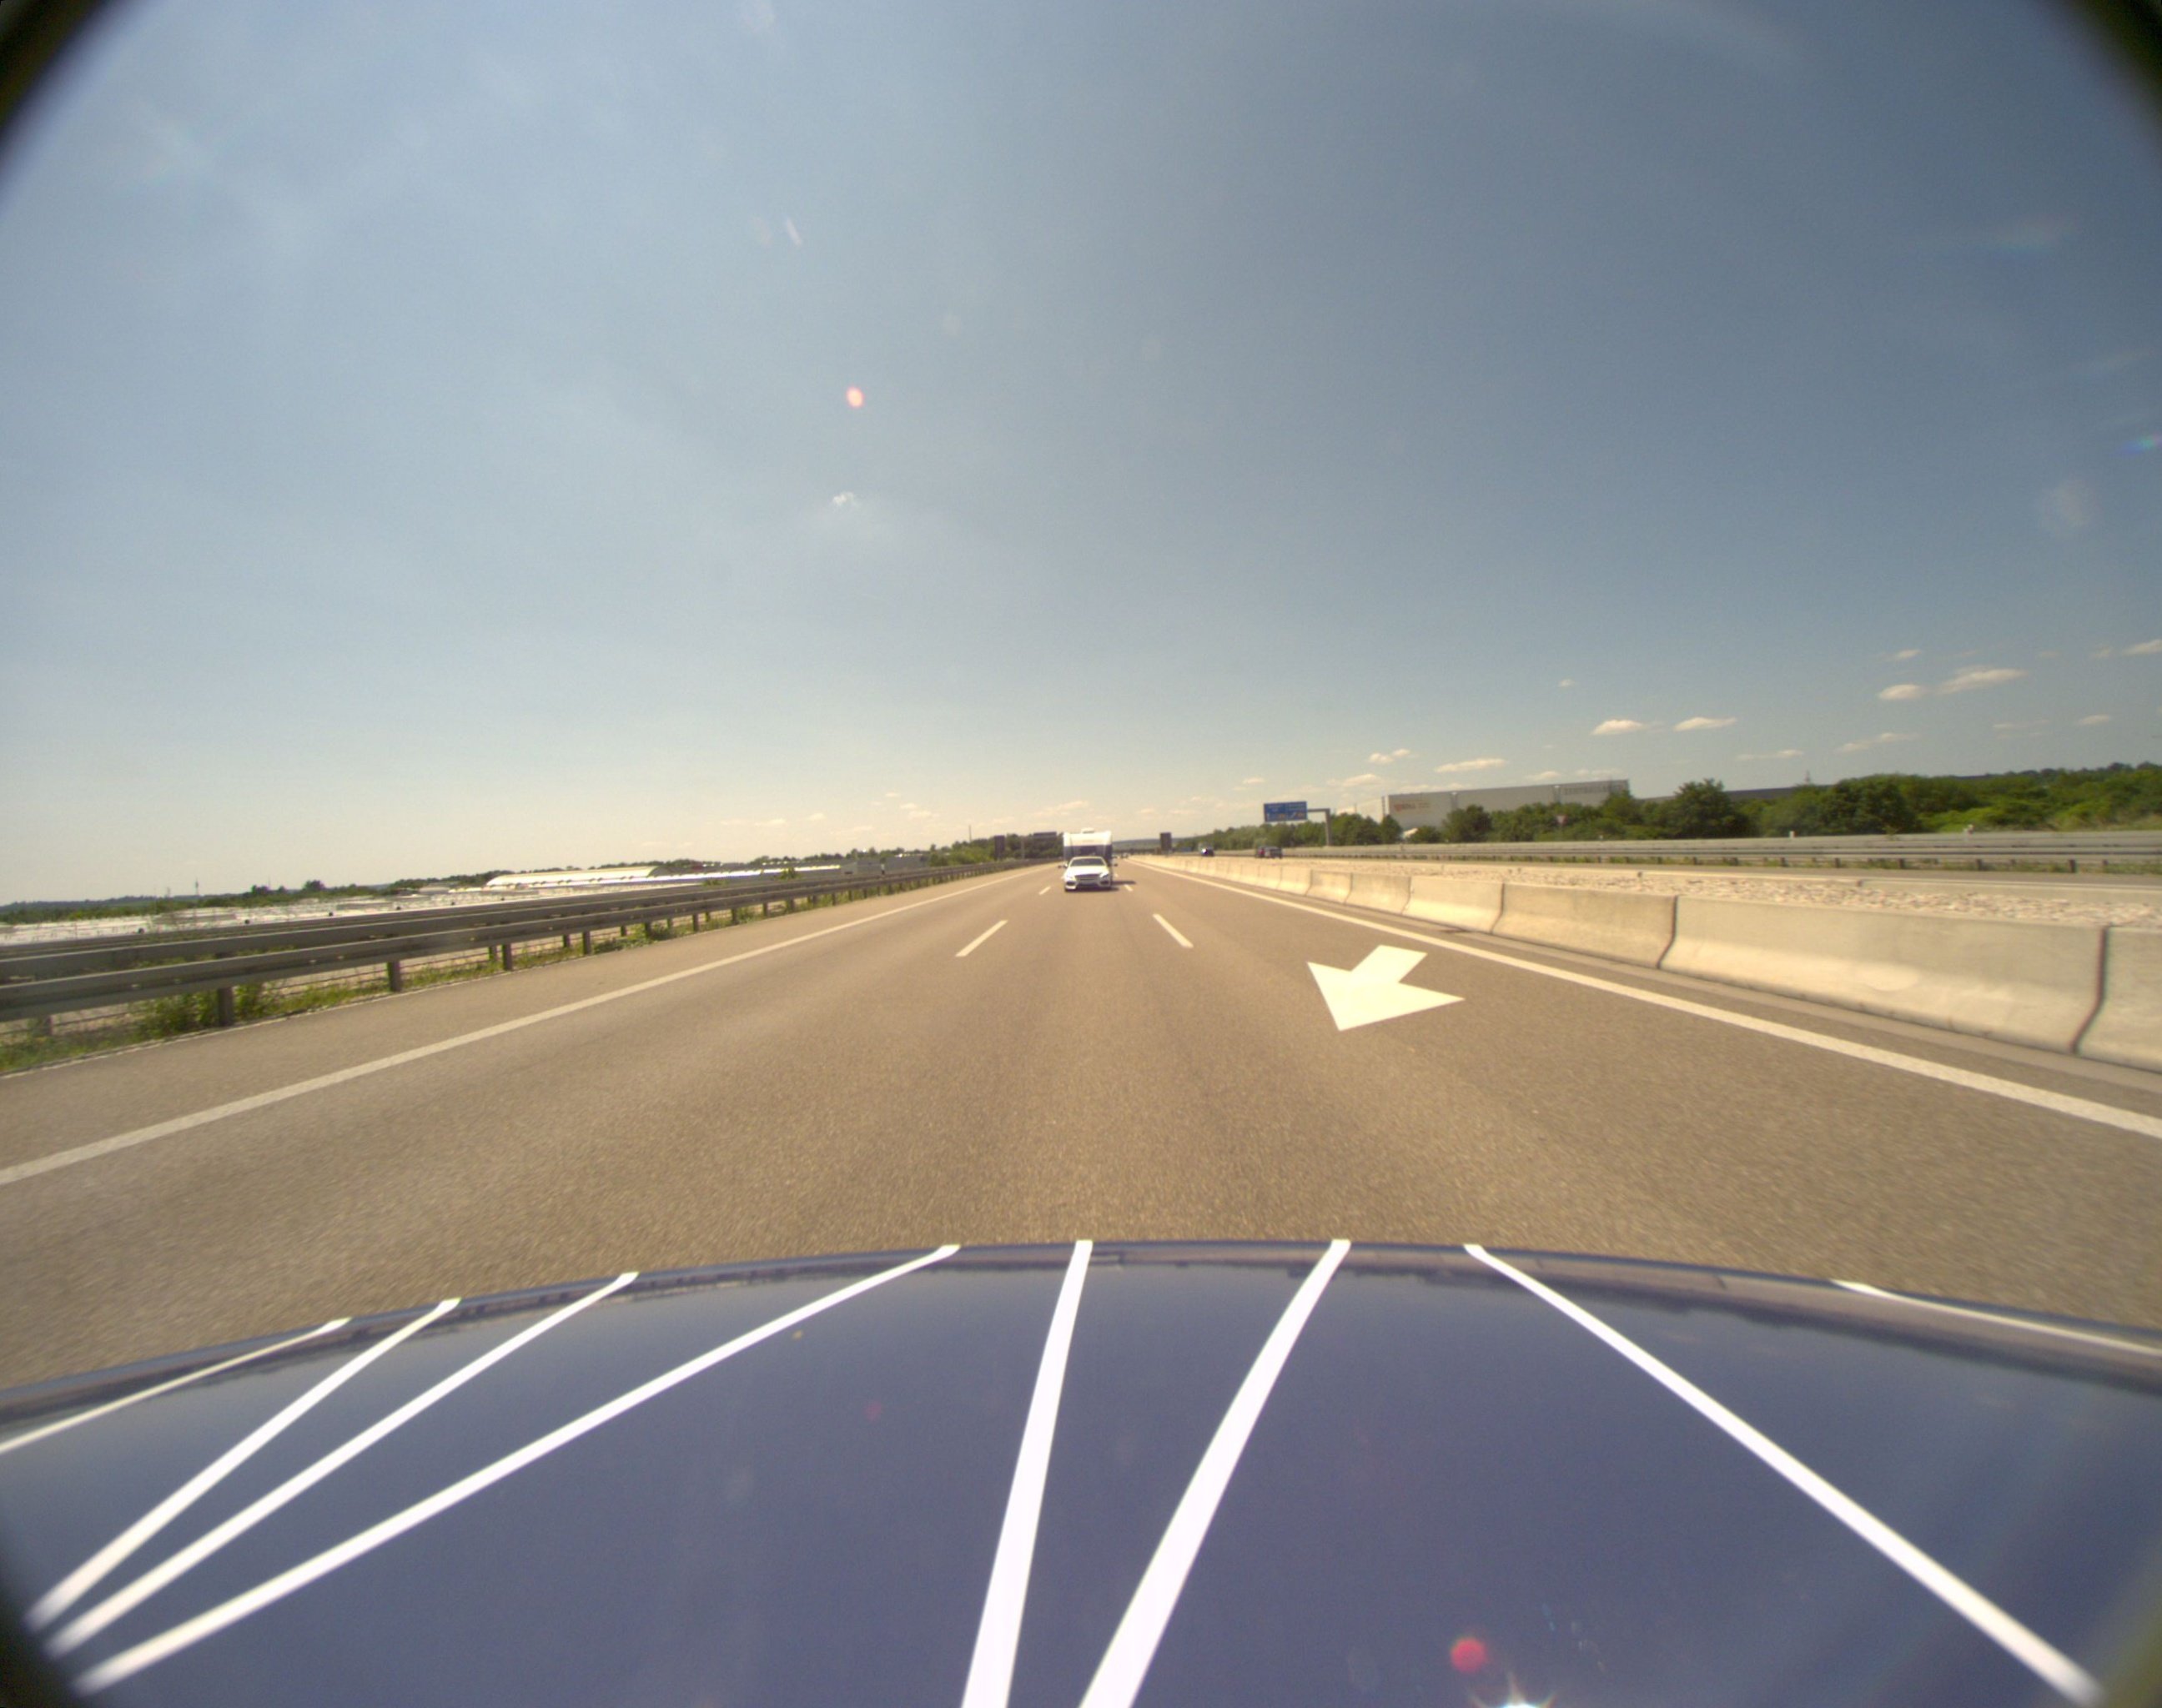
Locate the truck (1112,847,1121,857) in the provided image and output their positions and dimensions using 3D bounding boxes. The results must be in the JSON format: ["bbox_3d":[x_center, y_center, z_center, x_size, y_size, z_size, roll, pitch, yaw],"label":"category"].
[{"bbox_3d":[10.580,-0.478,225.248,2.168,2.797,6.492,-2,0,4],"label":"truck"}]

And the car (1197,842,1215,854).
[{"bbox_3d":[17.722,-0.854,107.820,2.036,1.464,4.371,-2,0,2],"label":"car"}]

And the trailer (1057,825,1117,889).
[{"bbox_3d":[0.346,0.082,36.410,2.501,2.686,7.154,-2,1,1],"label":"trailer"}]

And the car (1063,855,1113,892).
[{"bbox_3d":[0.311,0.738,31.035,1.873,1.352,3.672,-1,1,1],"label":"car"}]

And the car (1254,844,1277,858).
[{"bbox_3d":[21.263,-0.388,87.695,1.796,1.541,4.000,-2,0,1],"label":"car"}]

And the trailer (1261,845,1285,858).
[{"bbox_3d":[21.142,-0.301,83.831,1.760,1.427,3.683,-1,1,1],"label":"trailer"}]
